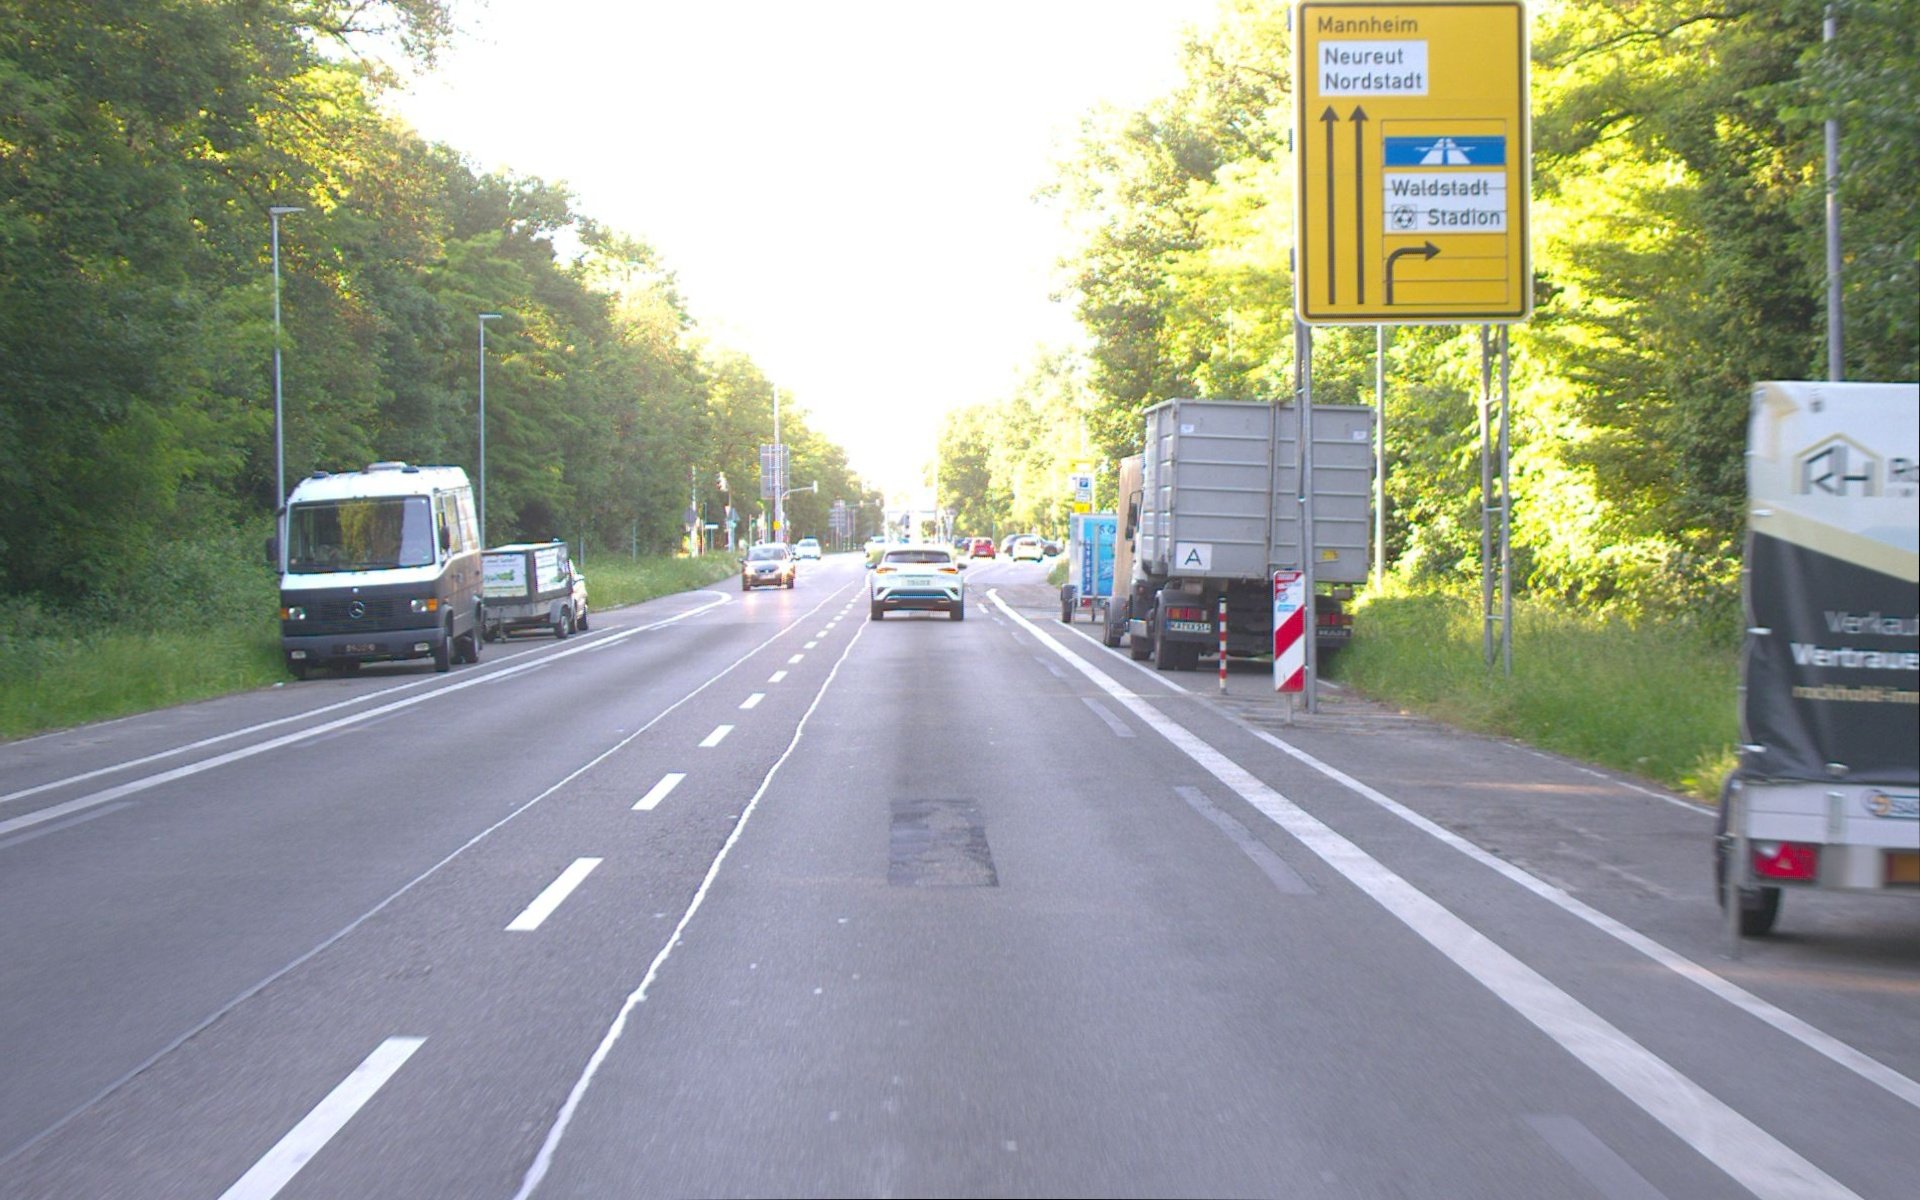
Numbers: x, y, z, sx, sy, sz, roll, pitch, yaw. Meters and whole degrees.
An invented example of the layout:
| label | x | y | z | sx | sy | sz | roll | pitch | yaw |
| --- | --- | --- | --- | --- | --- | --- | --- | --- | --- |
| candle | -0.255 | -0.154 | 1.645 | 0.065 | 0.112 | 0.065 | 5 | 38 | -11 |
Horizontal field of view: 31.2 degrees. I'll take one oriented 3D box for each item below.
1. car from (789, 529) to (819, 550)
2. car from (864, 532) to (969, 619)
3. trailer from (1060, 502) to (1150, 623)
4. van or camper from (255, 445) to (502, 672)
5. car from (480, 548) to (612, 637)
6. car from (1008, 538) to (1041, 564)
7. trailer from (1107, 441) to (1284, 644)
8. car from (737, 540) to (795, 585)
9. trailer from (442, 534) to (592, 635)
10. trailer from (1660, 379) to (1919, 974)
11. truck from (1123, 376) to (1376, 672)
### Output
| label | x | y | z | sx | sy | sz | roll | pitch | yaw |
| --- | --- | --- | --- | --- | --- | --- | --- | --- | --- |
| car | -10.999 | -4.240 | 242.845 | 1.993 | 1.459 | 4.000 | 1 | 1 | -1 |
| car | -0.862 | -0.506 | 67.941 | 1.993 | 1.634 | 4.000 | -1 | 1 | -1 |
| trailer | 2.774 | -0.735 | 66.440 | 1.500 | 2.228 | 4.550 | 1 | 1 | 0 |
| van or camper | -7.726 | -0.583 | 46.306 | 2.302 | 2.758 | 5.557 | -3 | 1 | -1 |
| car | -7.644 | -0.169 | 63.859 | 1.867 | 1.458 | 4.133 | -4 | 1 | 0 |
| car | 4.119 | -3.125 | 220.113 | 1.993 | 1.612 | 4.000 | 1 | 1 | 0 |
| trailer | 3.440 | -0.862 | 51.200 | 2.272 | 2.835 | 5.207 | 1 | 1 | 0 |
| car | -6.345 | -1.237 | 112.885 | 1.678 | 1.411 | 4.000 | -1 | 1 | 0 |
| trailer | -7.633 | -0.285 | 59.467 | 1.471 | 1.654 | 3.364 | -2 | 0 | 12 |
| trailer | 3.719 | 0.254 | 13.315 | 1.616 | 2.105 | 2.394 | 1 | 1 | 20 |
| truck | 3.472 | -0.916 | 42.835 | 2.505 | 3.355 | 7.107 | 1 | 1 | 0 |
